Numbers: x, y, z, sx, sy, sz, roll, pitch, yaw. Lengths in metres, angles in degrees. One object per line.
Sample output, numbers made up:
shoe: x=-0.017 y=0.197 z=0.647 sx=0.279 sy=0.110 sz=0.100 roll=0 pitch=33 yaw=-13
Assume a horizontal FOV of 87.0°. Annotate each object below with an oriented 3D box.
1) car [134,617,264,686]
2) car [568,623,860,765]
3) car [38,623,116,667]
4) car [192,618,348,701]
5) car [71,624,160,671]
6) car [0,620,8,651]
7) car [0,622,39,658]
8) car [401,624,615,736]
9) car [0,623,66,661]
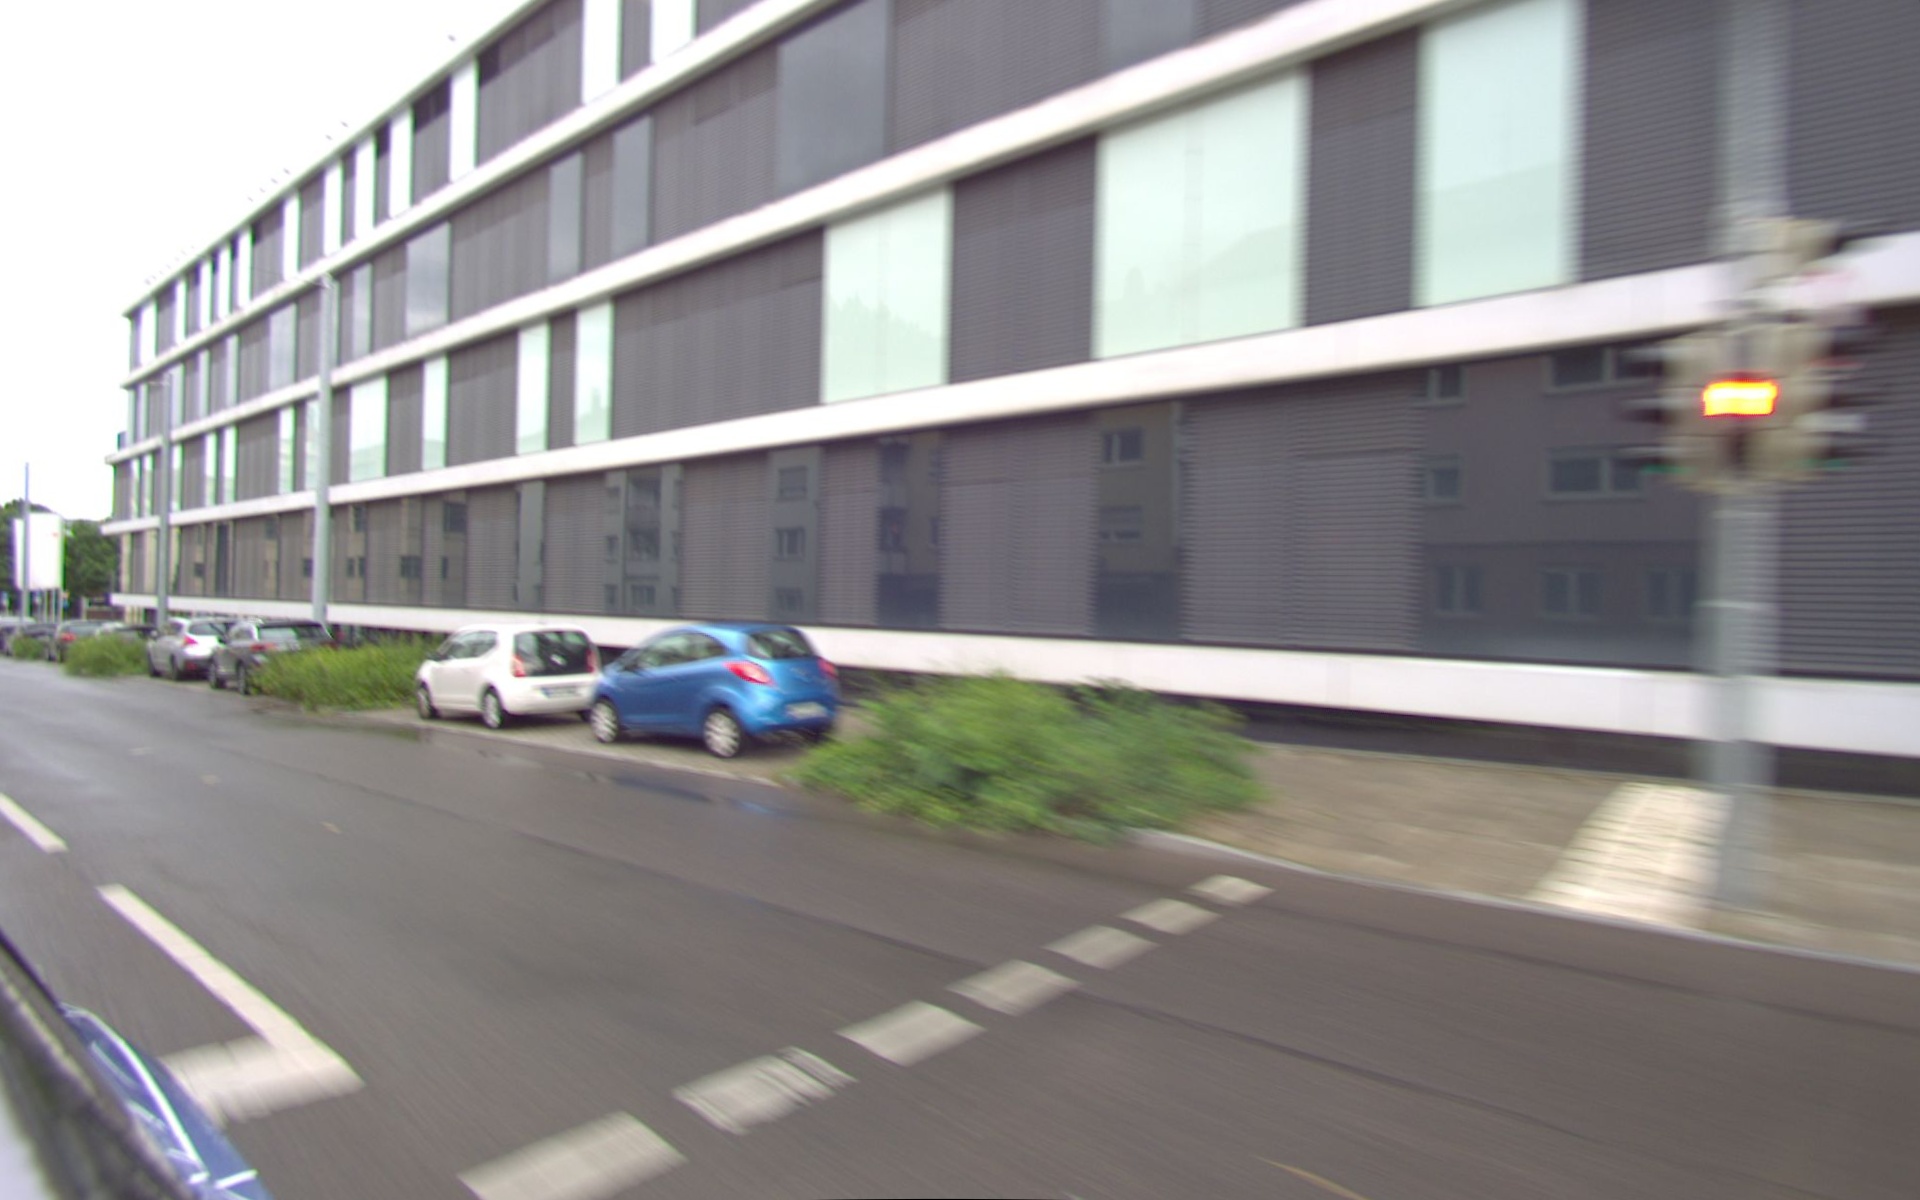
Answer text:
car: x=-19.882 y=1.284 z=26.374 sx=4.360 sy=1.601 sz=1.811 roll=-1 pitch=0 yaw=41
car: x=-3.066 y=1.019 z=12.336 sx=3.579 sy=1.478 sz=1.621 roll=-1 pitch=-2 yaw=39
car: x=-31.916 y=1.596 z=36.557 sx=4.039 sy=1.483 sz=1.545 roll=-1 pitch=-1 yaw=41
car: x=-15.194 y=1.217 z=22.205 sx=4.362 sy=1.601 sz=1.862 roll=-1 pitch=0 yaw=42
car: x=-27.256 y=1.491 z=32.616 sx=4.039 sy=1.404 sz=1.545 roll=-1 pitch=-1 yaw=41
car: x=-50.979 y=1.848 z=52.706 sx=4.039 sy=1.597 sz=1.621 roll=-1 pitch=-1 yaw=41
car: x=-43.280 y=1.790 z=45.979 sx=4.039 sy=1.597 sz=1.621 roll=-1 pitch=-1 yaw=41
car: x=-6.904 y=1.108 z=15.326 sx=3.582 sy=1.478 sz=1.620 roll=-1 pitch=-2 yaw=41
car: x=-38.890 y=1.737 z=42.396 sx=4.039 sy=1.483 sz=1.621 roll=-1 pitch=-1 yaw=41
